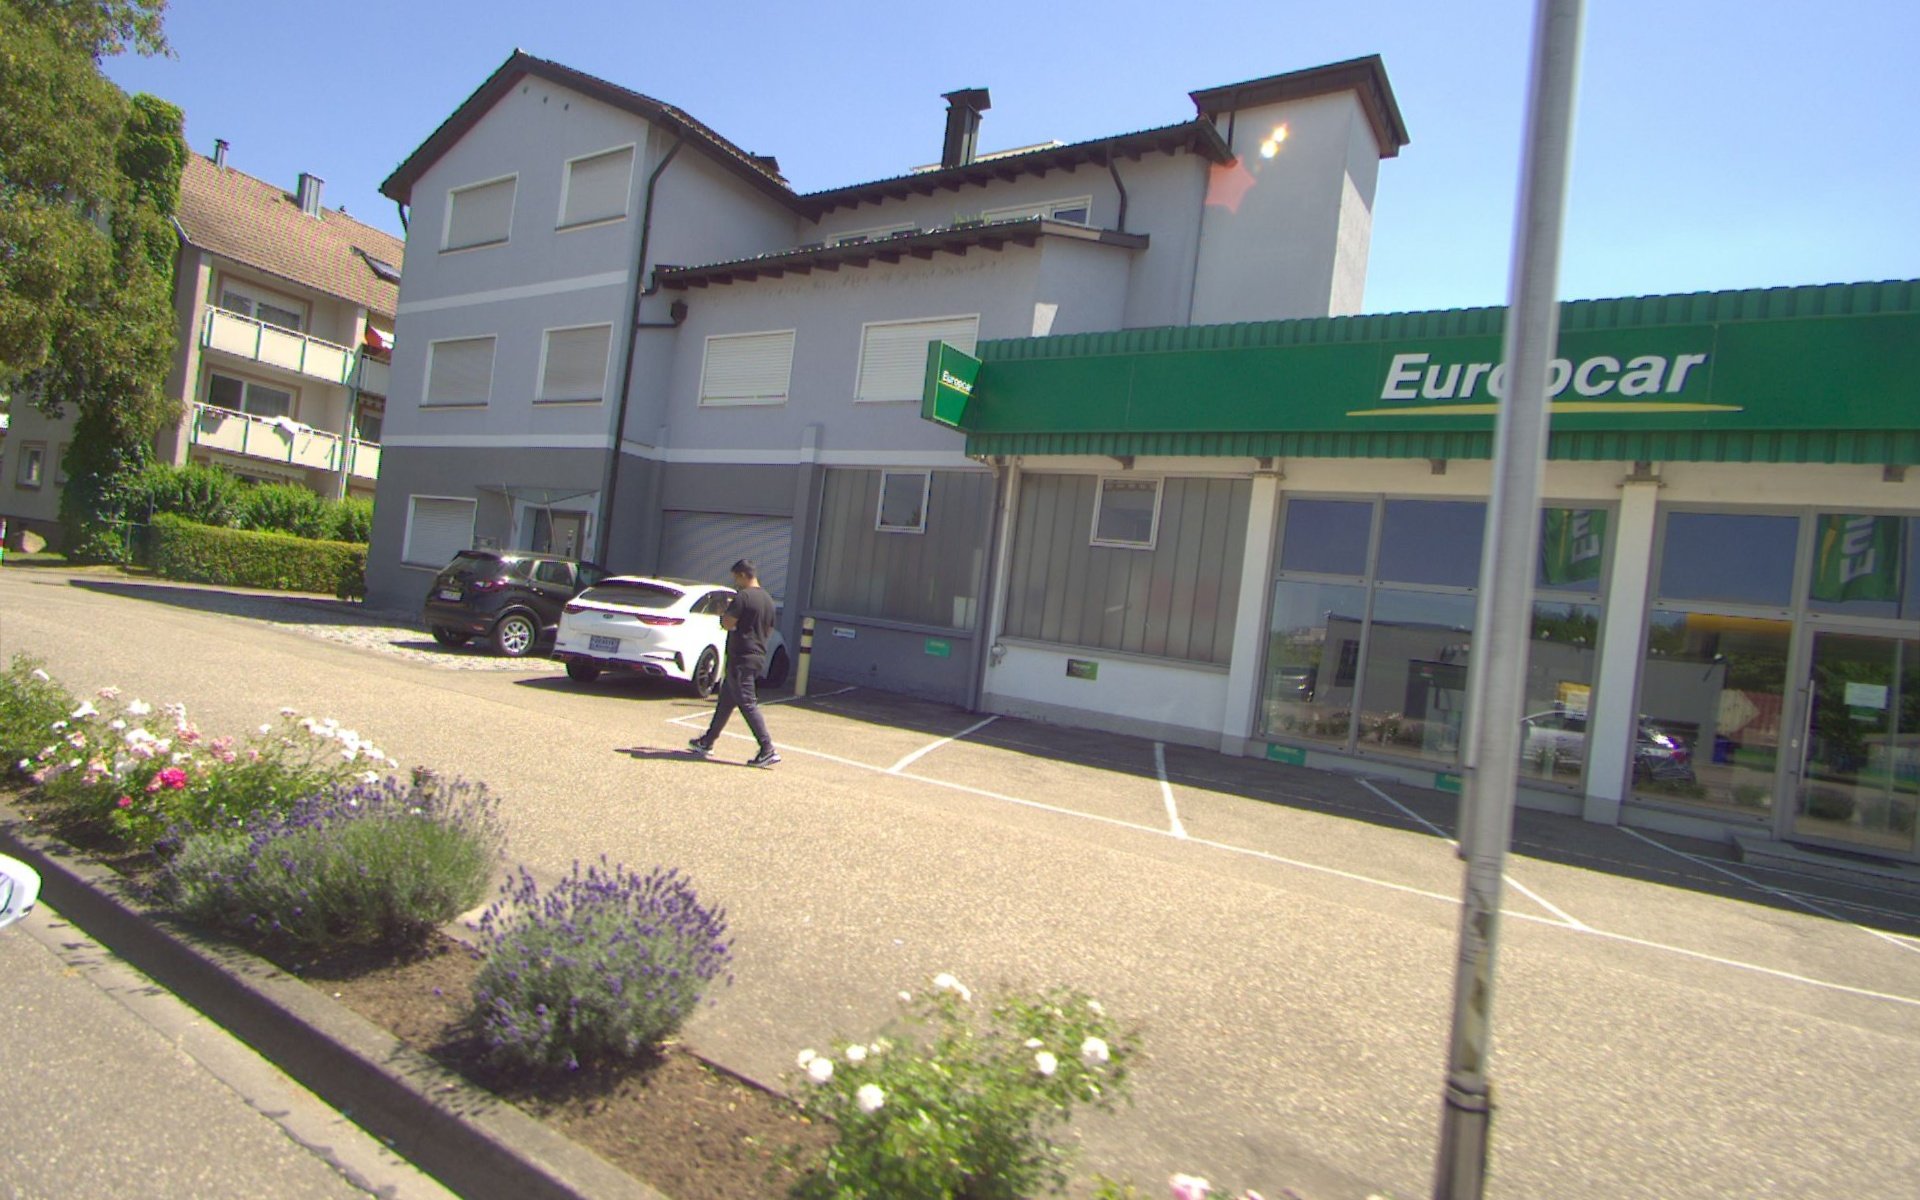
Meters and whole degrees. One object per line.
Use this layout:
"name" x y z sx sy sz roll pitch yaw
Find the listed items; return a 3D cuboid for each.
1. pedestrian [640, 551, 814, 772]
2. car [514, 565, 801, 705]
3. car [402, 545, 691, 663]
"pedestrian" -1.940 0.489 8.390 0.994 1.662 0.840 6 1 36
"car" -3.816 0.473 13.647 1.918 1.387 4.361 6 -1 9
"car" -6.526 0.129 16.306 1.768 1.570 3.990 6 0 31
